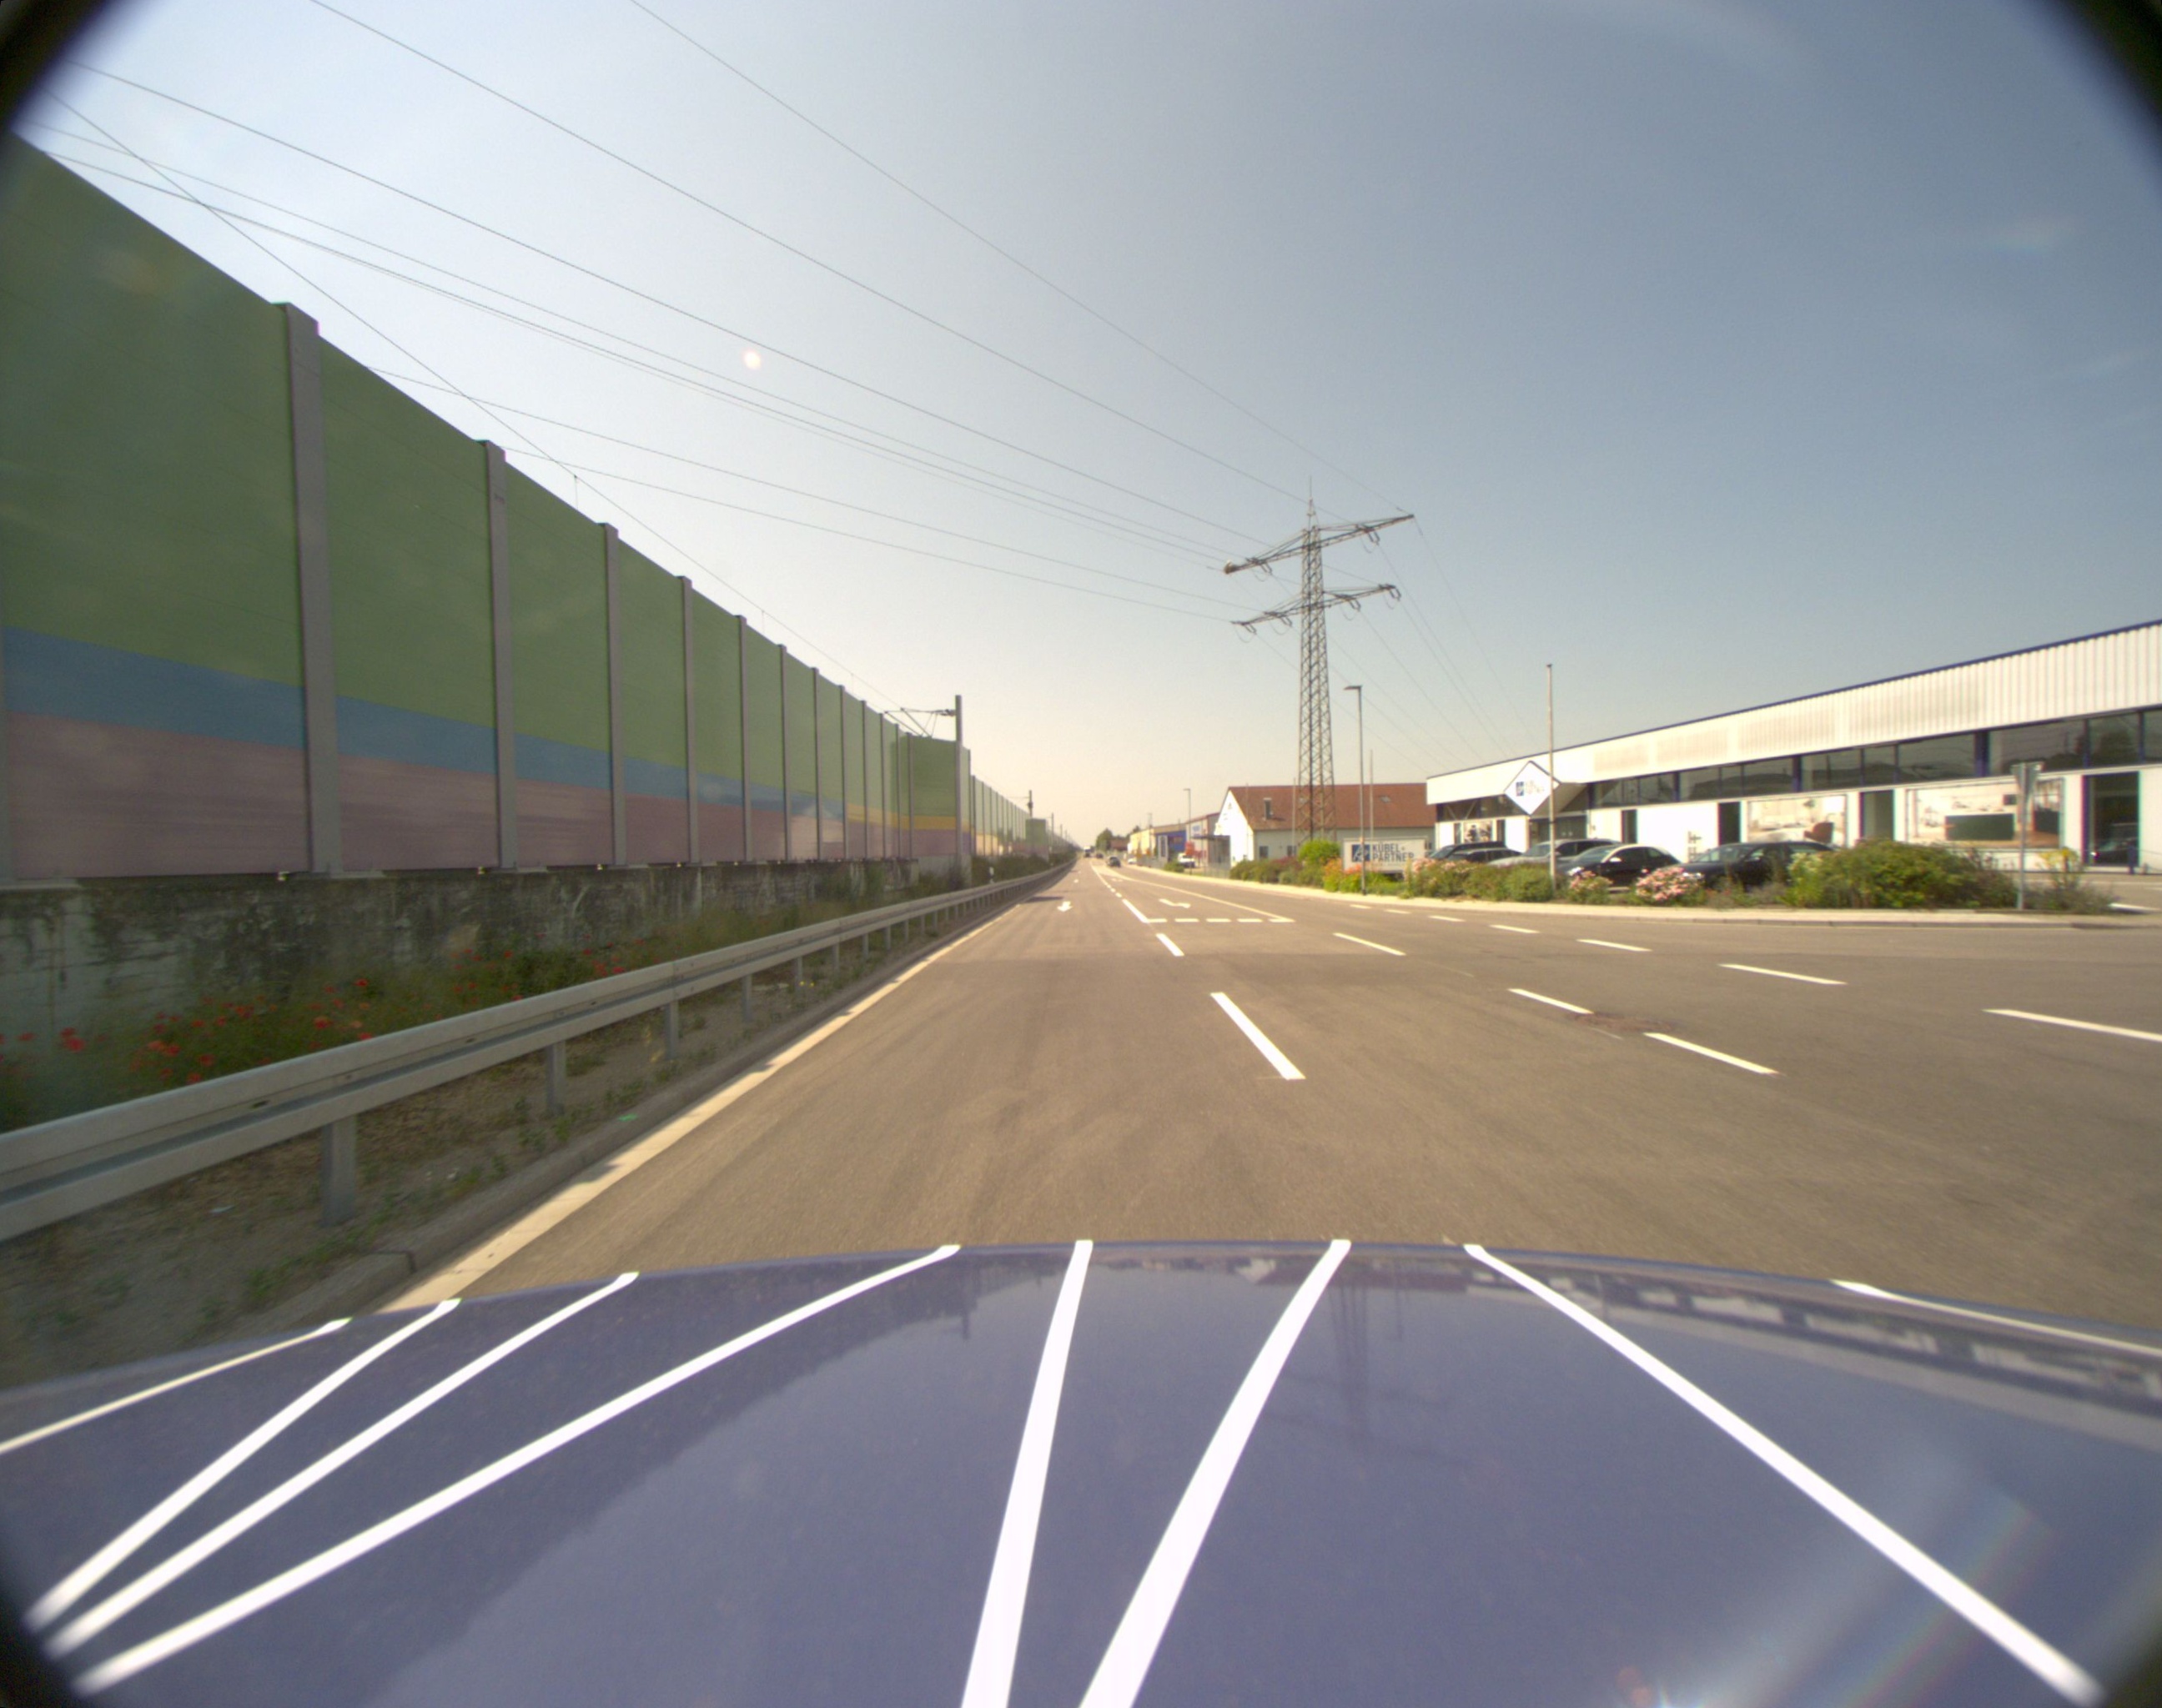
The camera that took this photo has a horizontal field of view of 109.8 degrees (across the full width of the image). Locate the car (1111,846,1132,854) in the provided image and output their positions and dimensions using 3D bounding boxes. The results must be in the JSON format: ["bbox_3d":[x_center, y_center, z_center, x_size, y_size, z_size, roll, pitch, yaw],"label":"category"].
[{"bbox_3d":[8.596,-0.843,162.152,4.151,1.493,1.778,-1,0,32],"label":"car"}]

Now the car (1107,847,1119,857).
[{"bbox_3d":[6.089,-0.432,145.974,1.999,1.863,5.168,0,1,-1],"label":"car"}]

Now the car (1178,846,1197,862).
[{"bbox_3d":[14.556,-0.003,104.109,1.998,2.002,4.680,-1,1,1],"label":"car"}]

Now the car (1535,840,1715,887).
[{"bbox_3d":[16.400,0.274,23.047,4.236,1.307,1.833,-1,0,-3],"label":"car"}]

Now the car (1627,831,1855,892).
[{"bbox_3d":[16.394,0.170,19.007,4.236,1.386,1.833,-1,0,-3],"label":"car"}]

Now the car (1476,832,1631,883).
[{"bbox_3d":[16.191,0.104,26.176,4.236,1.638,1.833,-1,1,-3],"label":"car"}]

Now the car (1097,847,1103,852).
[{"bbox_3d":[6.124,-1.558,249.116,1.886,1.607,4.522,1,1,2],"label":"car"}]

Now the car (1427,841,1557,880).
[{"bbox_3d":[15.862,0.245,29.422,3.999,1.406,1.999,-1,0,-7],"label":"car"}]

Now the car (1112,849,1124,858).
[{"bbox_3d":[6.159,-0.114,126.705,1.675,1.415,3.999,0,1,0],"label":"car"}]

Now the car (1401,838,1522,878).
[{"bbox_3d":[16.175,0.153,32.419,4.236,1.586,1.833,-1,0,-3],"label":"car"}]
